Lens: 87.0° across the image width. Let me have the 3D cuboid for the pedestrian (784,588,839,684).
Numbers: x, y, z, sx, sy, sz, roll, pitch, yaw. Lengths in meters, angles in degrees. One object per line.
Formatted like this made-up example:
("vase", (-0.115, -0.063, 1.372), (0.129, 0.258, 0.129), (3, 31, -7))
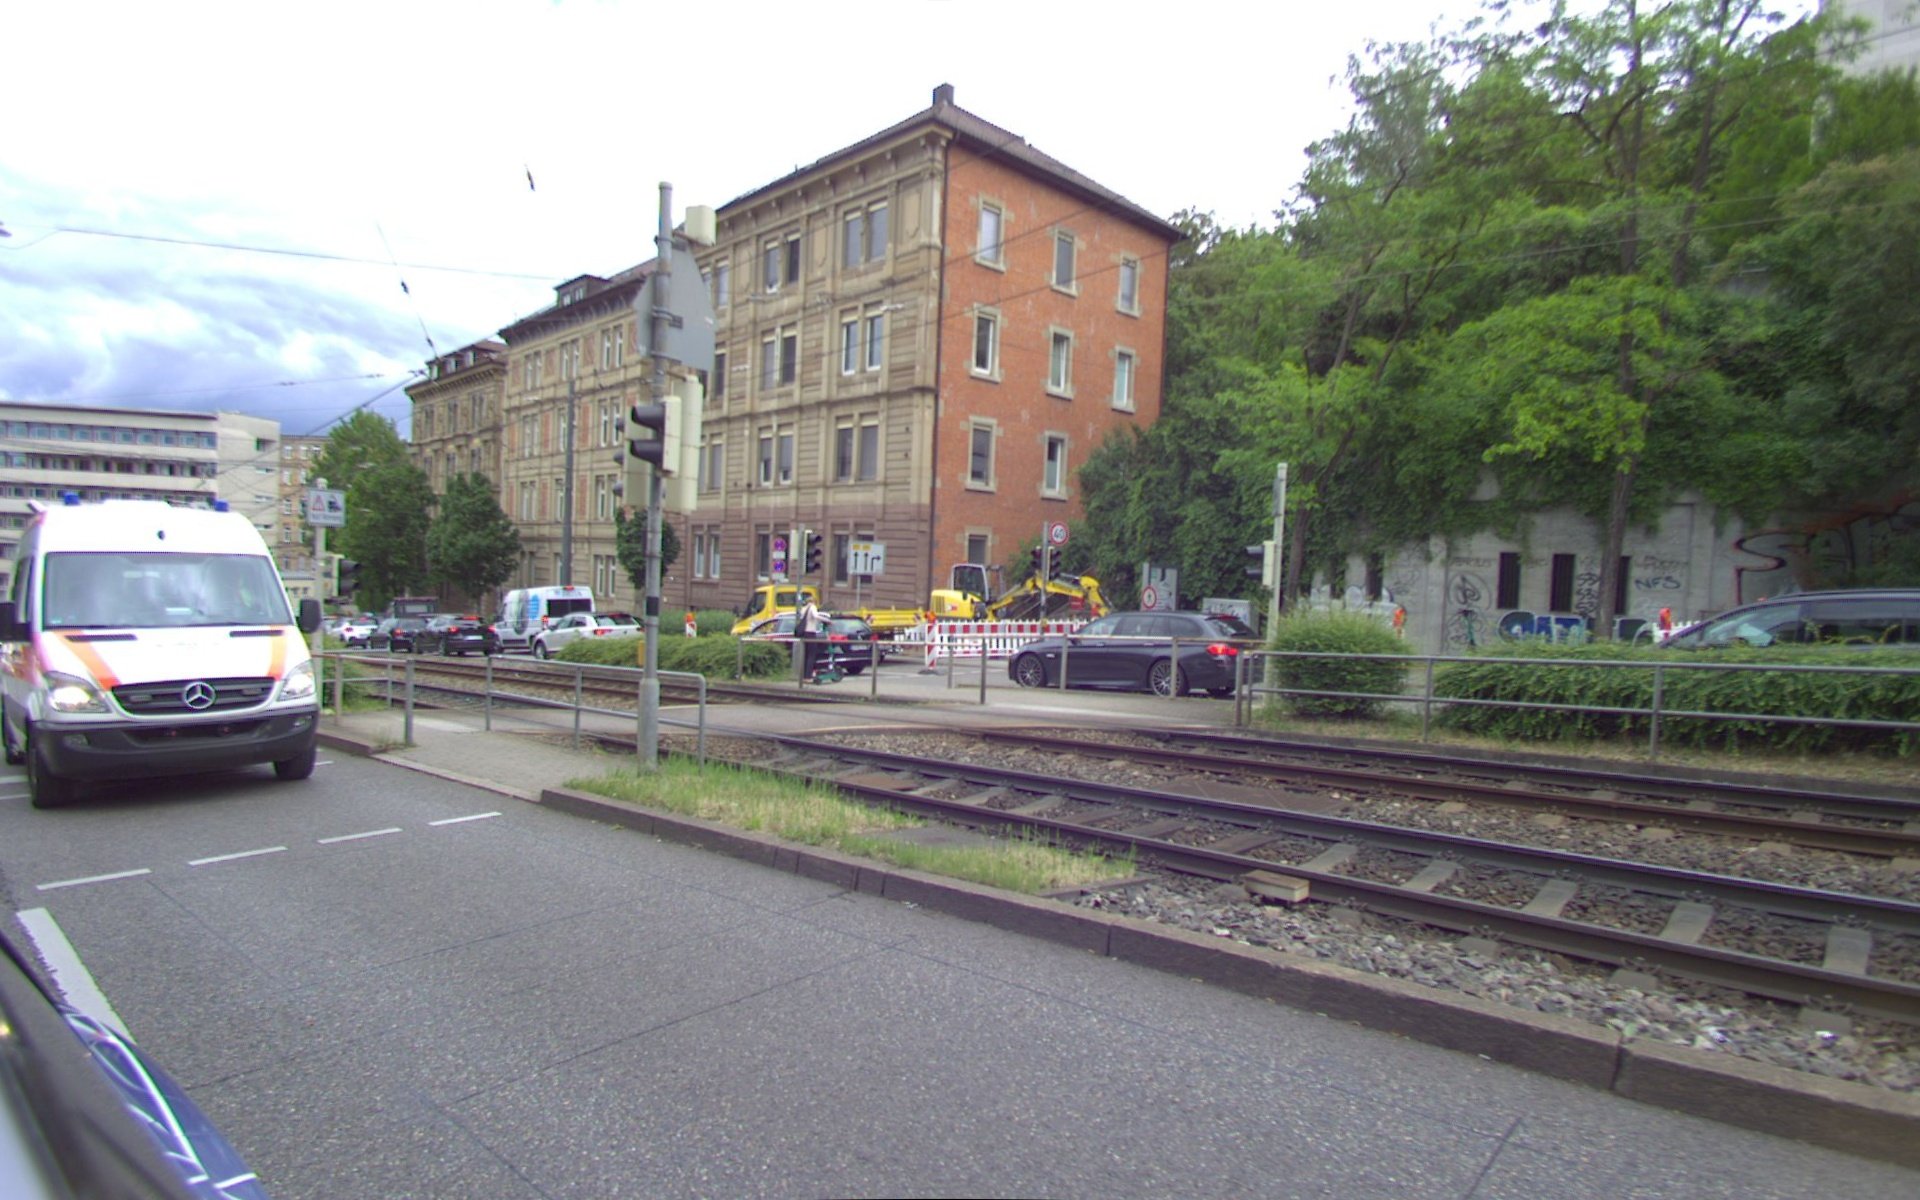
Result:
("pedestrian", (-2.888, 0.700, 19.693), (0.788, 1.831, 0.736), (-1, -3, 23))

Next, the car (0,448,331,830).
("car", (-8.146, 0.335, 10.004), (5.857, 2.720, 2.010), (-2, -1, 45))

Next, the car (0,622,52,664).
("car", (-37.670, 1.683, 40.245), (4.317, 1.564, 1.972), (-2, -2, 43))

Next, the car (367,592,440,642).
("car", (-27.117, 0.856, 49.296), (2.209, 2.305, 4.004), (1, -2, -43))

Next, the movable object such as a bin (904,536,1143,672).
("movable object such as a bin", (1.775, 0.196, 29.624), (6.533, 3.575, 2.723), (-1, -2, 35))

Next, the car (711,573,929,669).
("car", (-4.173, 0.578, 29.045), (6.752, 2.454, 2.415), (-1, -1, 42))

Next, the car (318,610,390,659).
("car", (-27.044, 1.506, 45.094), (1.970, 2.060, 4.004), (1, -2, -43))

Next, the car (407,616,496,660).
("car", (-18.586, 1.362, 36.936), (1.844, 1.531, 3.953), (1, -2, -43))

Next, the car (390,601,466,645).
("car", (-24.549, 1.061, 46.661), (2.287, 1.954, 3.440), (1, -2, -43))

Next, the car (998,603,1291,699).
("car", (3.070, 0.844, 17.678), (1.859, 1.446, 4.848), (4, -3, -44))

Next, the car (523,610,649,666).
("car", (-11.155, 1.102, 30.097), (3.995, 1.579, 1.686), (-1, -2, 39))

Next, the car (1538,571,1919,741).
("car", (9.199, 0.567, 11.051), (1.969, 1.617, 4.625), (1, -2, -42))

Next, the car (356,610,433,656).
("car", (-22.838, 1.325, 40.797), (1.814, 1.763, 4.004), (1, -2, -43))

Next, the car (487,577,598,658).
("car", (-15.813, 0.671, 38.214), (4.786, 2.844, 2.184), (-1, -2, 45))

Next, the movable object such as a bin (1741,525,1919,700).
("movable object such as a bin", (14.376, 0.161, 14.980), (1.909, 2.486, 4.104), (-2, 0, -41))

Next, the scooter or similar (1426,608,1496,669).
("scooter or similar", (10.915, 0.842, 22.076), (1.289, 1.299, 0.423), (-2, -2, 35))

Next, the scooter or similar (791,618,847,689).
("scooter or similar", (-2.688, 0.994, 19.372), (0.528, 1.306, 1.491), (0, -2, 15))

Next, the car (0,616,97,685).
("car", (-23.769, 1.250, 26.254), (1.903, 1.584, 4.185), (-2, 0, -43))

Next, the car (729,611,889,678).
("car", (-3.666, 1.022, 24.146), (4.002, 1.473, 1.758), (-1, -2, 45))
